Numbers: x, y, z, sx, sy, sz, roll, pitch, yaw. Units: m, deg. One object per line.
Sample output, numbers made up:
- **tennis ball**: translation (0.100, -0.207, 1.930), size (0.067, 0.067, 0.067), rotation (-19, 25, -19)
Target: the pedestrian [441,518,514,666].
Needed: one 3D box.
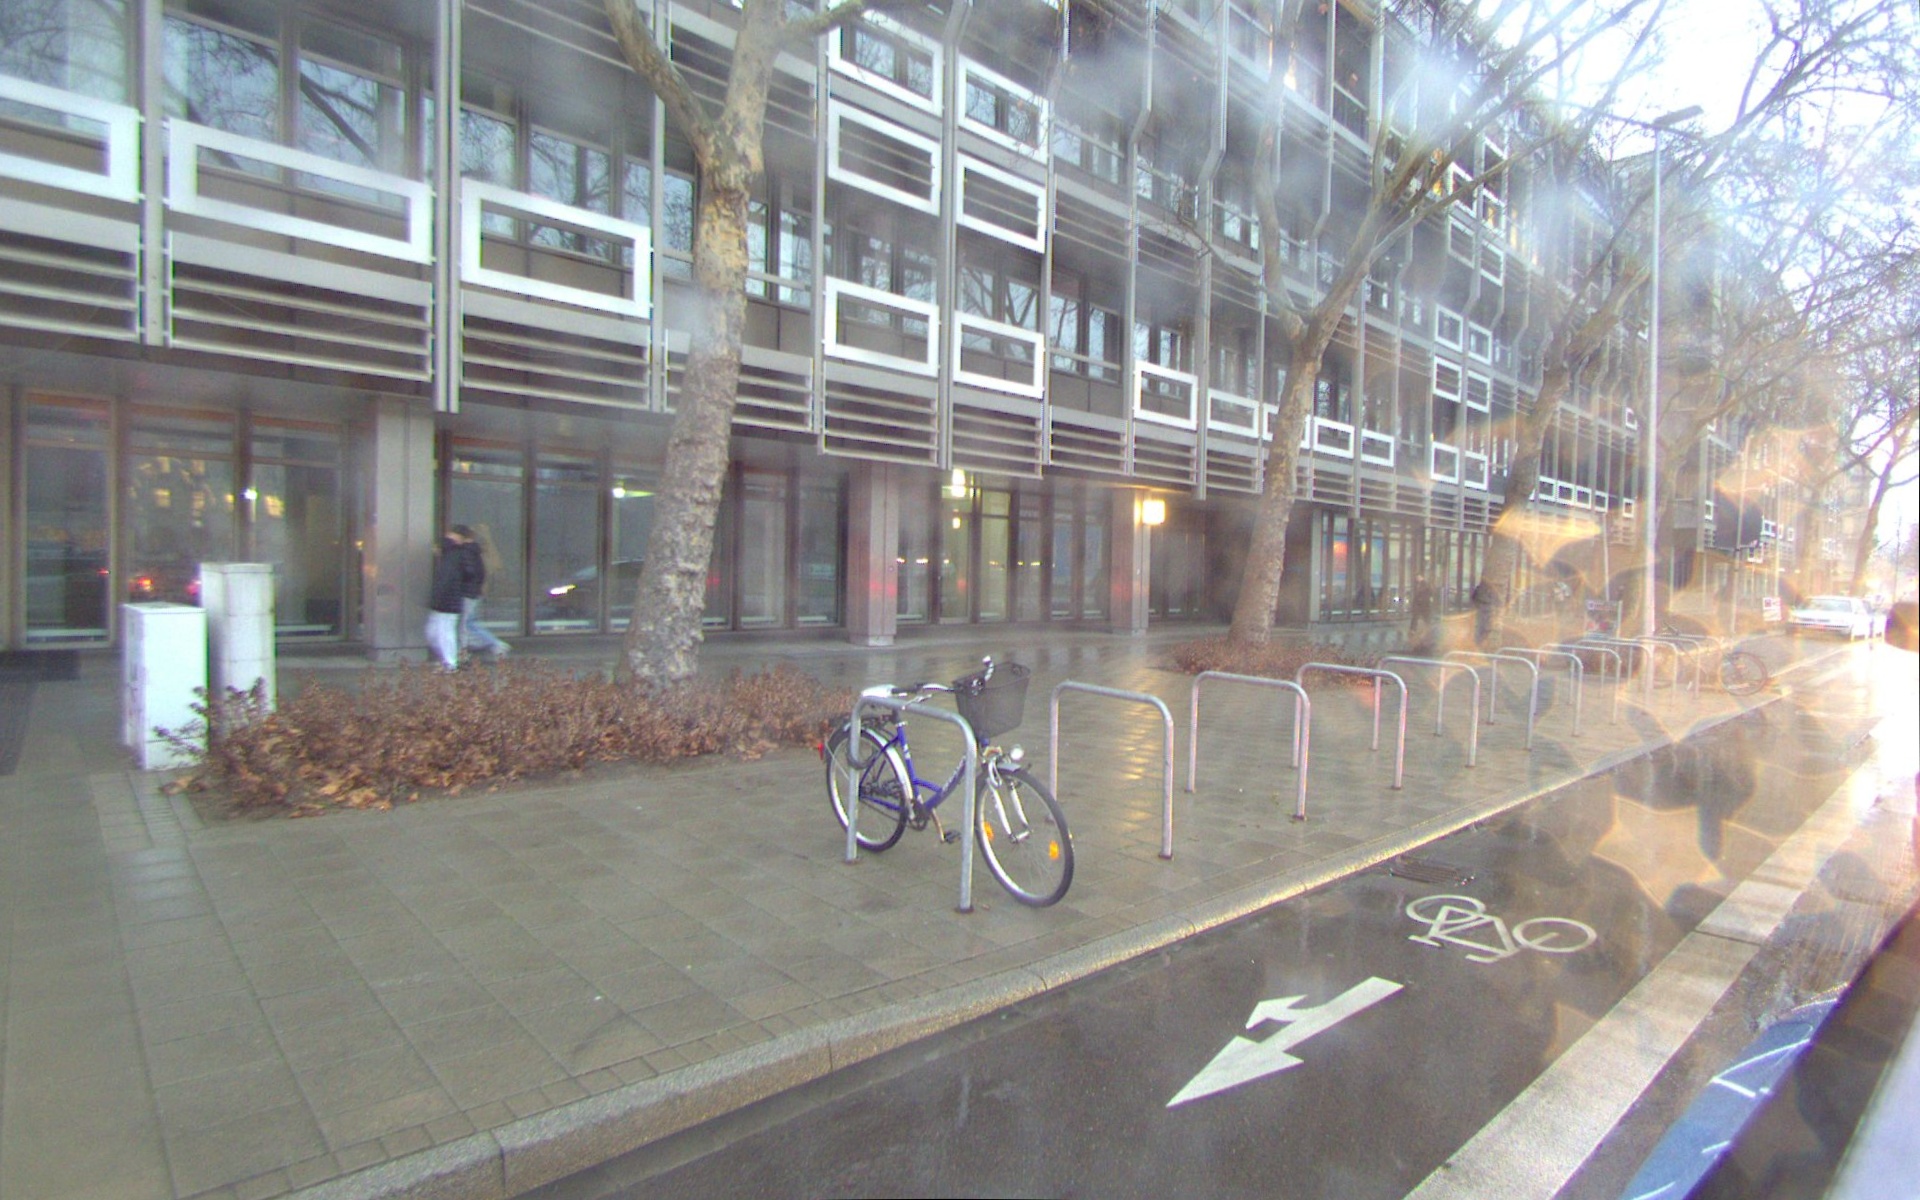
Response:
- **pedestrian**: translation (-5.672, -0.103, 11.903), size (0.701, 1.689, 0.379), rotation (0, 1, -41)

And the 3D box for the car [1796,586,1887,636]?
- **car**: translation (29.422, 0.326, 33.752), size (3.859, 1.449, 1.609), rotation (0, 4, -39)

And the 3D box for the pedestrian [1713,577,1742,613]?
- **pedestrian**: translation (33.526, -0.242, 44.213), size (0.824, 1.543, 0.865), rotation (0, 2, -44)

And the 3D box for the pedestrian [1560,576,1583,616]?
- **pedestrian**: translation (21.267, -0.140, 35.220), size (0.494, 1.386, 0.493), rotation (1, 1, 9)

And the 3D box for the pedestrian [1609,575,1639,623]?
- **pedestrian**: translation (21.823, -0.040, 33.255), size (0.604, 1.563, 0.649), rotation (0, 1, -40)

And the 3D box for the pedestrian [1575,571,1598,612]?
- **pedestrian**: translation (26.198, -0.352, 42.313), size (0.829, 1.675, 0.640), rotation (0, 2, -45)

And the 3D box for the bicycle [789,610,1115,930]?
- **bicycle**: translation (-0.118, 0.694, 4.839), size (0.428, 1.162, 1.752), rotation (0, 4, -44)

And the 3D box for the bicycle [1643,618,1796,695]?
- **bicycle**: translation (11.648, 0.838, 15.567), size (0.607, 0.986, 1.789), rotation (0, 3, -45)

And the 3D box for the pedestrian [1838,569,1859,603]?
- **pedestrian**: translation (54.402, -0.873, 61.939), size (1.007, 2.039, 0.790), rotation (0, 1, -41)

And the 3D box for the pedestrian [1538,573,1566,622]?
- **pedestrian**: translation (20.951, -0.097, 35.831), size (0.767, 1.677, 0.617), rotation (0, 1, -41)

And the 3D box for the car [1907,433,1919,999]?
- **car**: translation (5.526, 0.425, 4.239), size (3.930, 2.039, 1.857), rotation (0, 1, -41)

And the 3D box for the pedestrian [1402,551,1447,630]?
- **pedestrian**: translation (12.231, -0.258, 26.645), size (0.723, 2.039, 0.821), rotation (0, 1, -43)

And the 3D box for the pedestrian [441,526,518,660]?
- **pedestrian**: translation (-5.878, -0.087, 12.385), size (0.733, 1.583, 0.484), rotation (0, 1, -42)

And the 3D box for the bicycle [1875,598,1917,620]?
- **bicycle**: translation (46.959, 0.440, 50.800), size (1.518, 1.049, 0.462), rotation (0, 1, 42)

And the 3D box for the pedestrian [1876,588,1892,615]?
- **pedestrian**: translation (69.388, 0.086, 75.999), size (0.758, 2.039, 0.837), rotation (-1, 0, -42)

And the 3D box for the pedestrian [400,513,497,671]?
- **pedestrian**: translation (-5.700, -0.091, 11.283), size (0.858, 1.689, 0.501), rotation (0, 2, -41)
